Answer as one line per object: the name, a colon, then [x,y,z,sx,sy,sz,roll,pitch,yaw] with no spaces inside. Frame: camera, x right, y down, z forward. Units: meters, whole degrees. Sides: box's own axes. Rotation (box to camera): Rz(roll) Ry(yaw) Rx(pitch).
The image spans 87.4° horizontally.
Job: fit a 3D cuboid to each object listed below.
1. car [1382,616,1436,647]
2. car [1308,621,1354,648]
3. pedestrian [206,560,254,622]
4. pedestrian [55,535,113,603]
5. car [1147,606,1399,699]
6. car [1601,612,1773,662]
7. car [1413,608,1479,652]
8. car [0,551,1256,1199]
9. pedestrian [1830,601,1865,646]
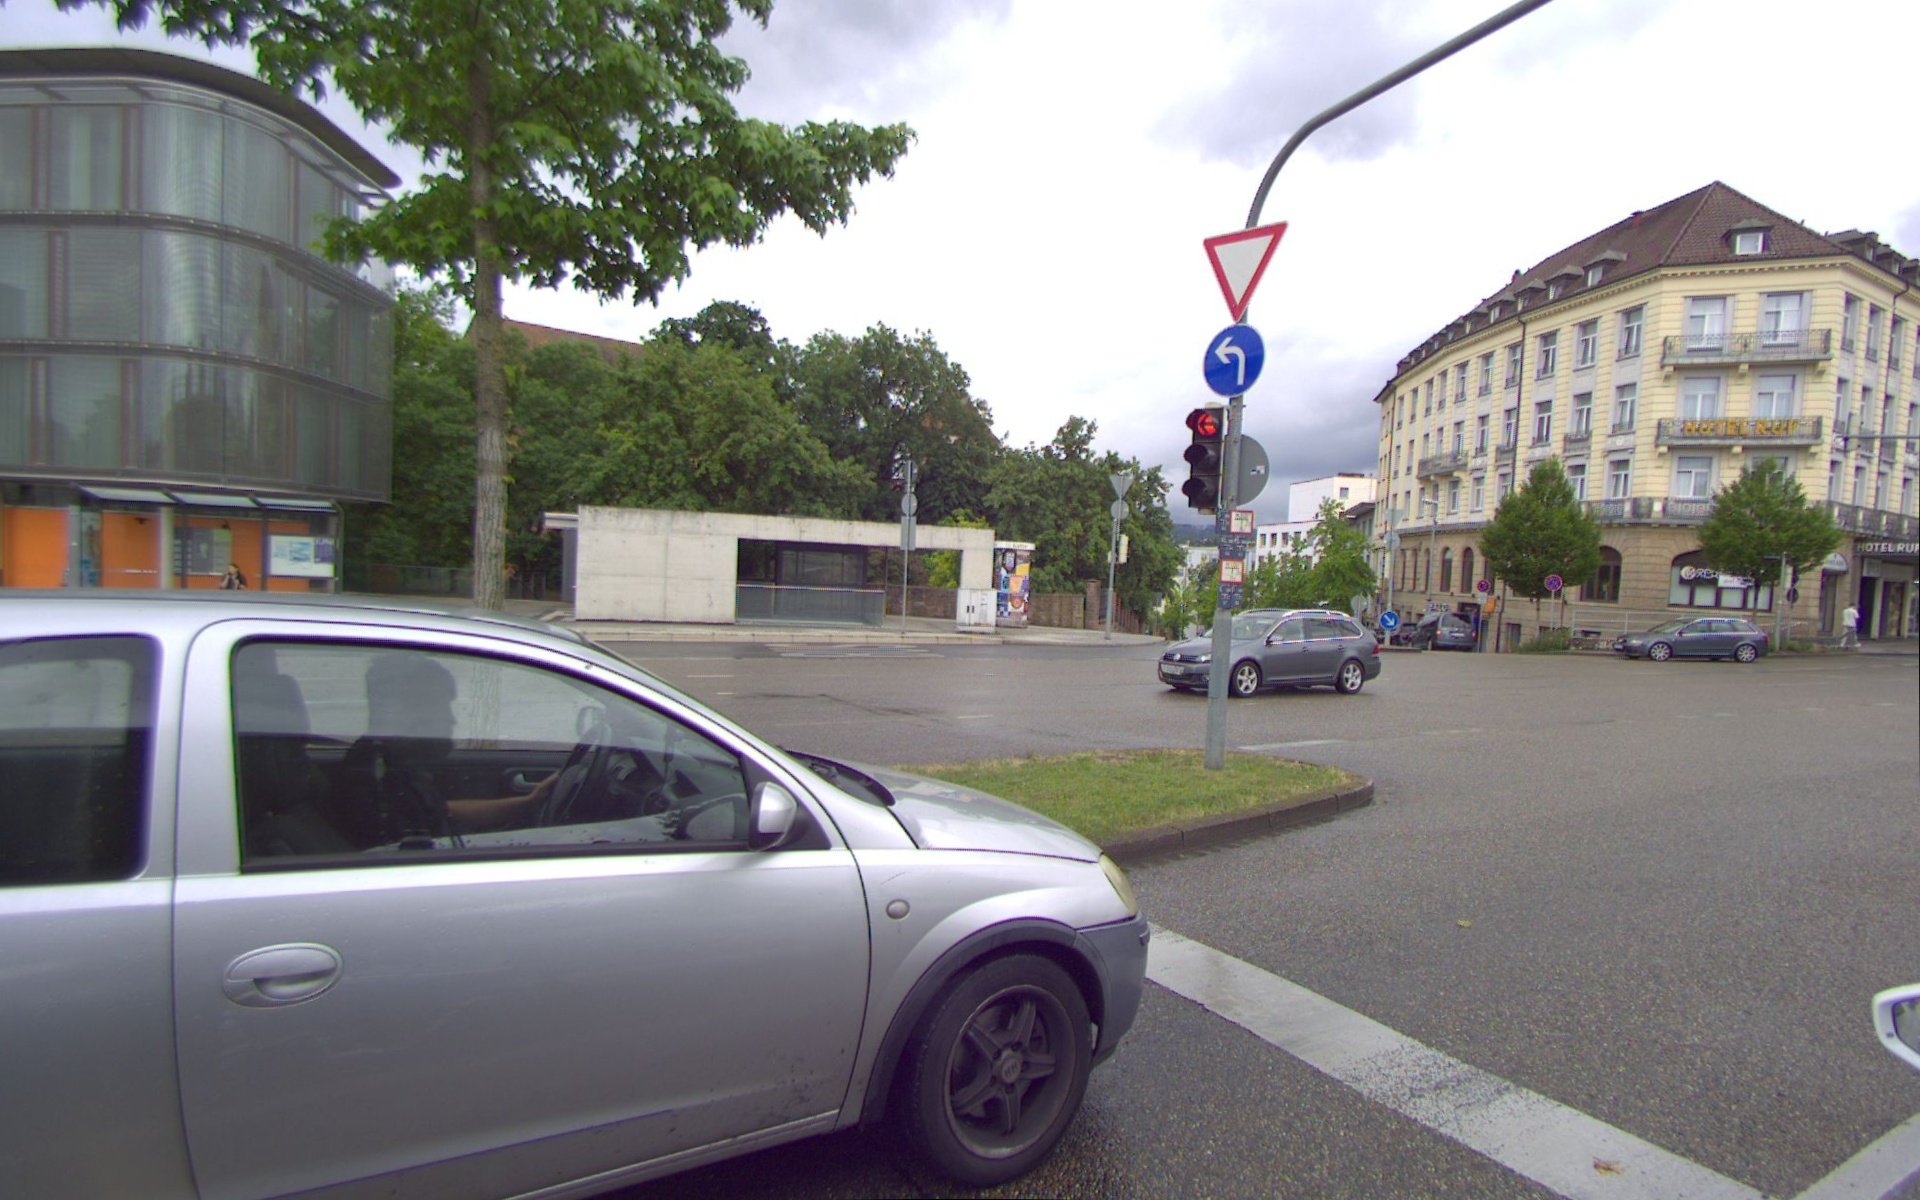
car: [22.990,1.593,51.546,1.602,1.417,4.002,2,1,10]
car: [23.258,2.145,63.132,1.734,1.498,4.012,2,0,6]
pedestrian: [-16.175,-0.196,22.270,0.710,1.316,0.665,2,0,-25]
pedestrian: [-24.029,-0.840,27.568,0.809,1.779,0.786,1,-3,-2]
car: [5.636,0.917,17.977,4.396,1.485,1.688,2,0,-28]
car: [24.424,1.208,33.887,4.361,1.485,1.701,2,0,8]
car: [21.789,1.285,45.189,1.602,1.783,4.002,2,1,10]
car: [-1.193,0.683,2.531,3.678,1.485,1.685,2,0,-32]
pedestrian: [36.960,0.959,41.818,0.741,1.837,0.875,2,0,-30]
